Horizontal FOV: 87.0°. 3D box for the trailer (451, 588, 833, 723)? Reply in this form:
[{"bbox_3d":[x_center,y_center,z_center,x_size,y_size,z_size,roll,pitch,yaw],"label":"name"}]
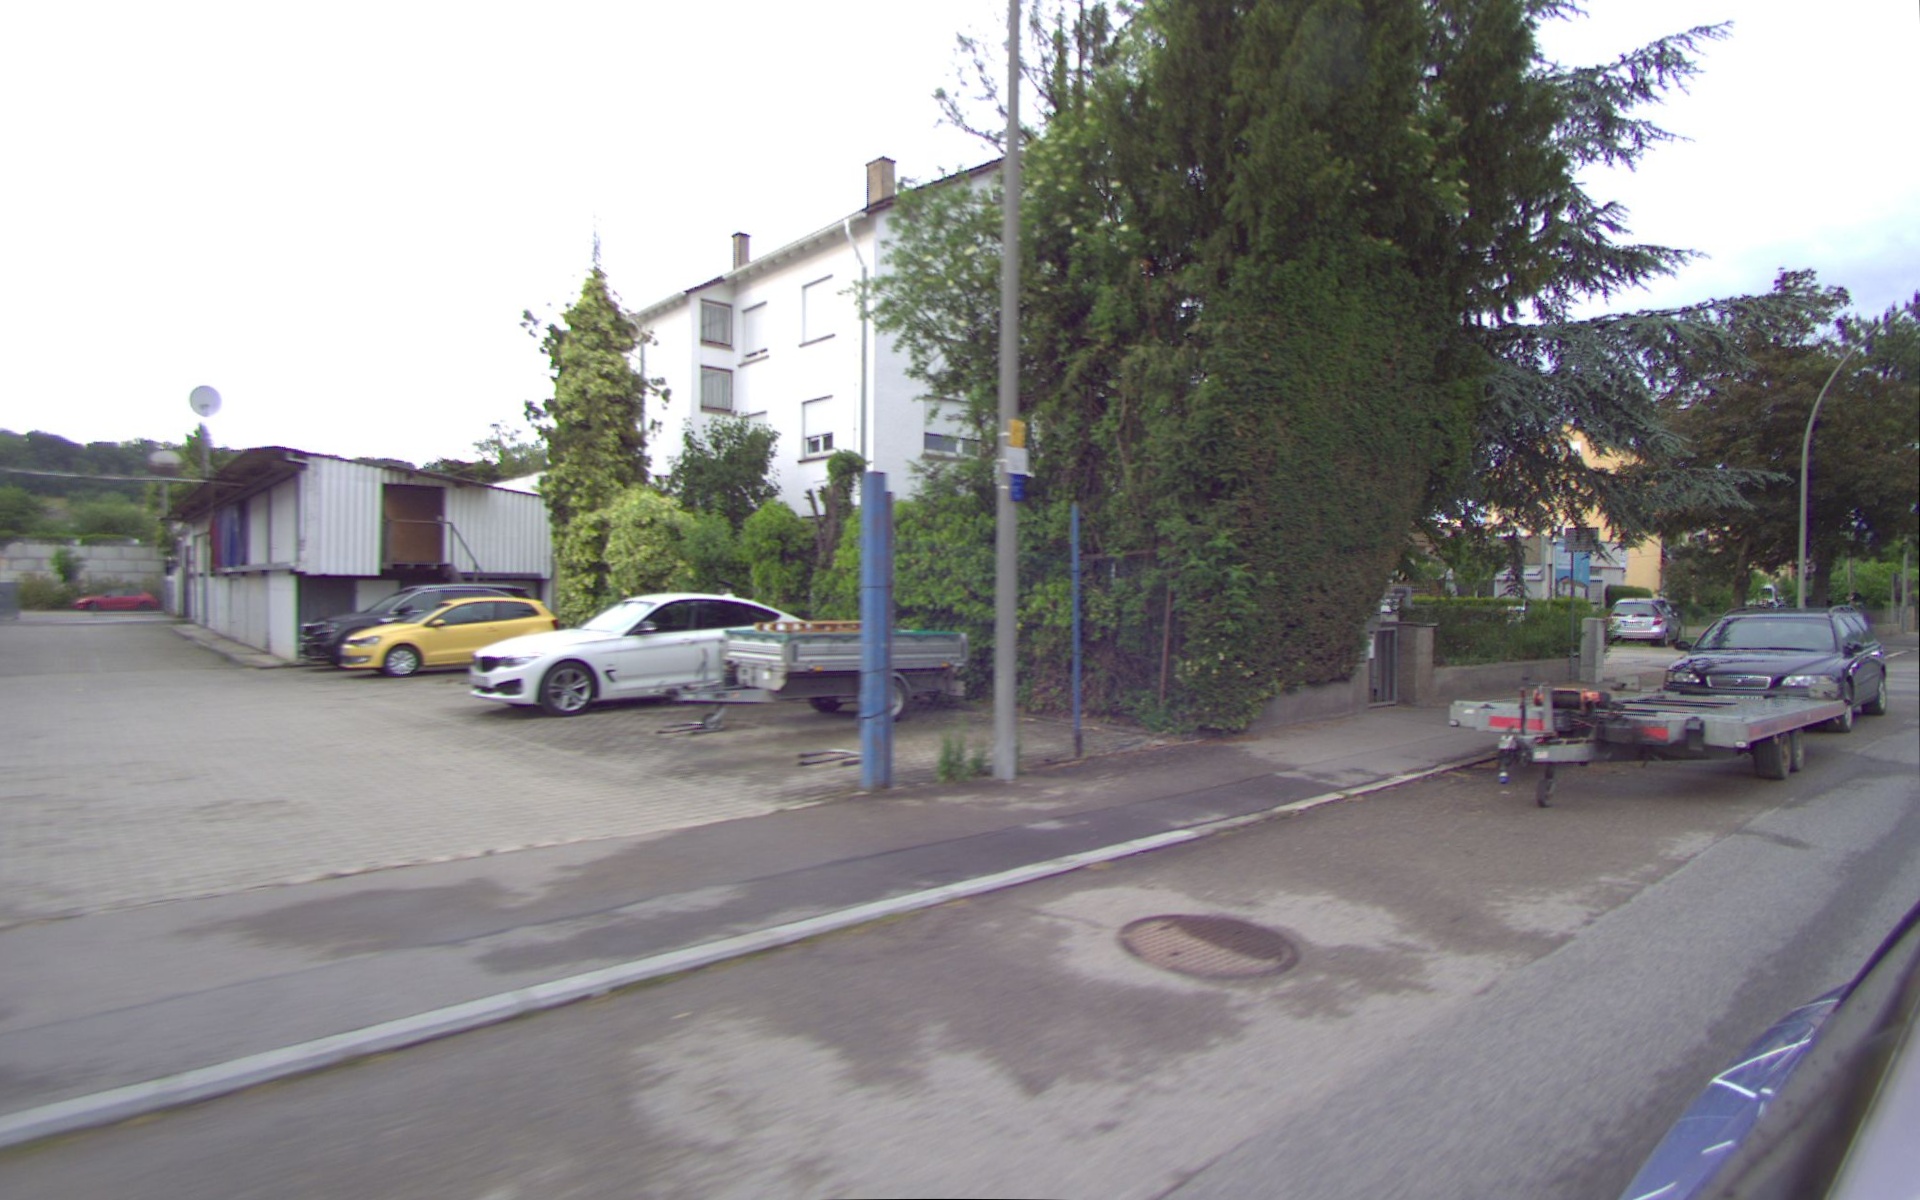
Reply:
[{"bbox_3d":[-4.180,0.608,13.891,4.725,1.539,1.770,-1,1,-44],"label":"trailer"}]

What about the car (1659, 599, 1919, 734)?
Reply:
[{"bbox_3d":[10.985,0.758,13.279,4.565,1.451,1.743,-1,-2,-39],"label":"car"}]

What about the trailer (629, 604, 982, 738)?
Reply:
[{"bbox_3d":[-1.724,0.710,11.890,3.821,1.291,1.619,0,0,-38],"label":"trailer"}]

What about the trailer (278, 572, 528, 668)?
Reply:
[{"bbox_3d":[-11.854,0.376,21.732,1.993,1.836,4.335,-1,0,43],"label":"trailer"}]

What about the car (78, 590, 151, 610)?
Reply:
[{"bbox_3d":[-52.682,-0.012,63.078,3.457,1.162,1.612,0,0,-41],"label":"car"}]

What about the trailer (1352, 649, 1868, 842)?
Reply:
[{"bbox_3d":[6.138,1.014,9.032,6.520,0.909,2.177,0,-1,-41],"label":"trailer"}]

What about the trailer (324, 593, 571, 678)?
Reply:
[{"bbox_3d":[-9.886,0.624,19.694,4.023,1.483,1.643,0,0,-41],"label":"trailer"}]

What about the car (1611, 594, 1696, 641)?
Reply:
[{"bbox_3d":[23.666,0.548,34.475,1.744,1.507,4.053,1,1,44],"label":"car"}]

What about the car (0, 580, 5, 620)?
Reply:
[{"bbox_3d":[-46.296,0.025,47.479,2.031,1.817,3.872,0,0,-42],"label":"car"}]
